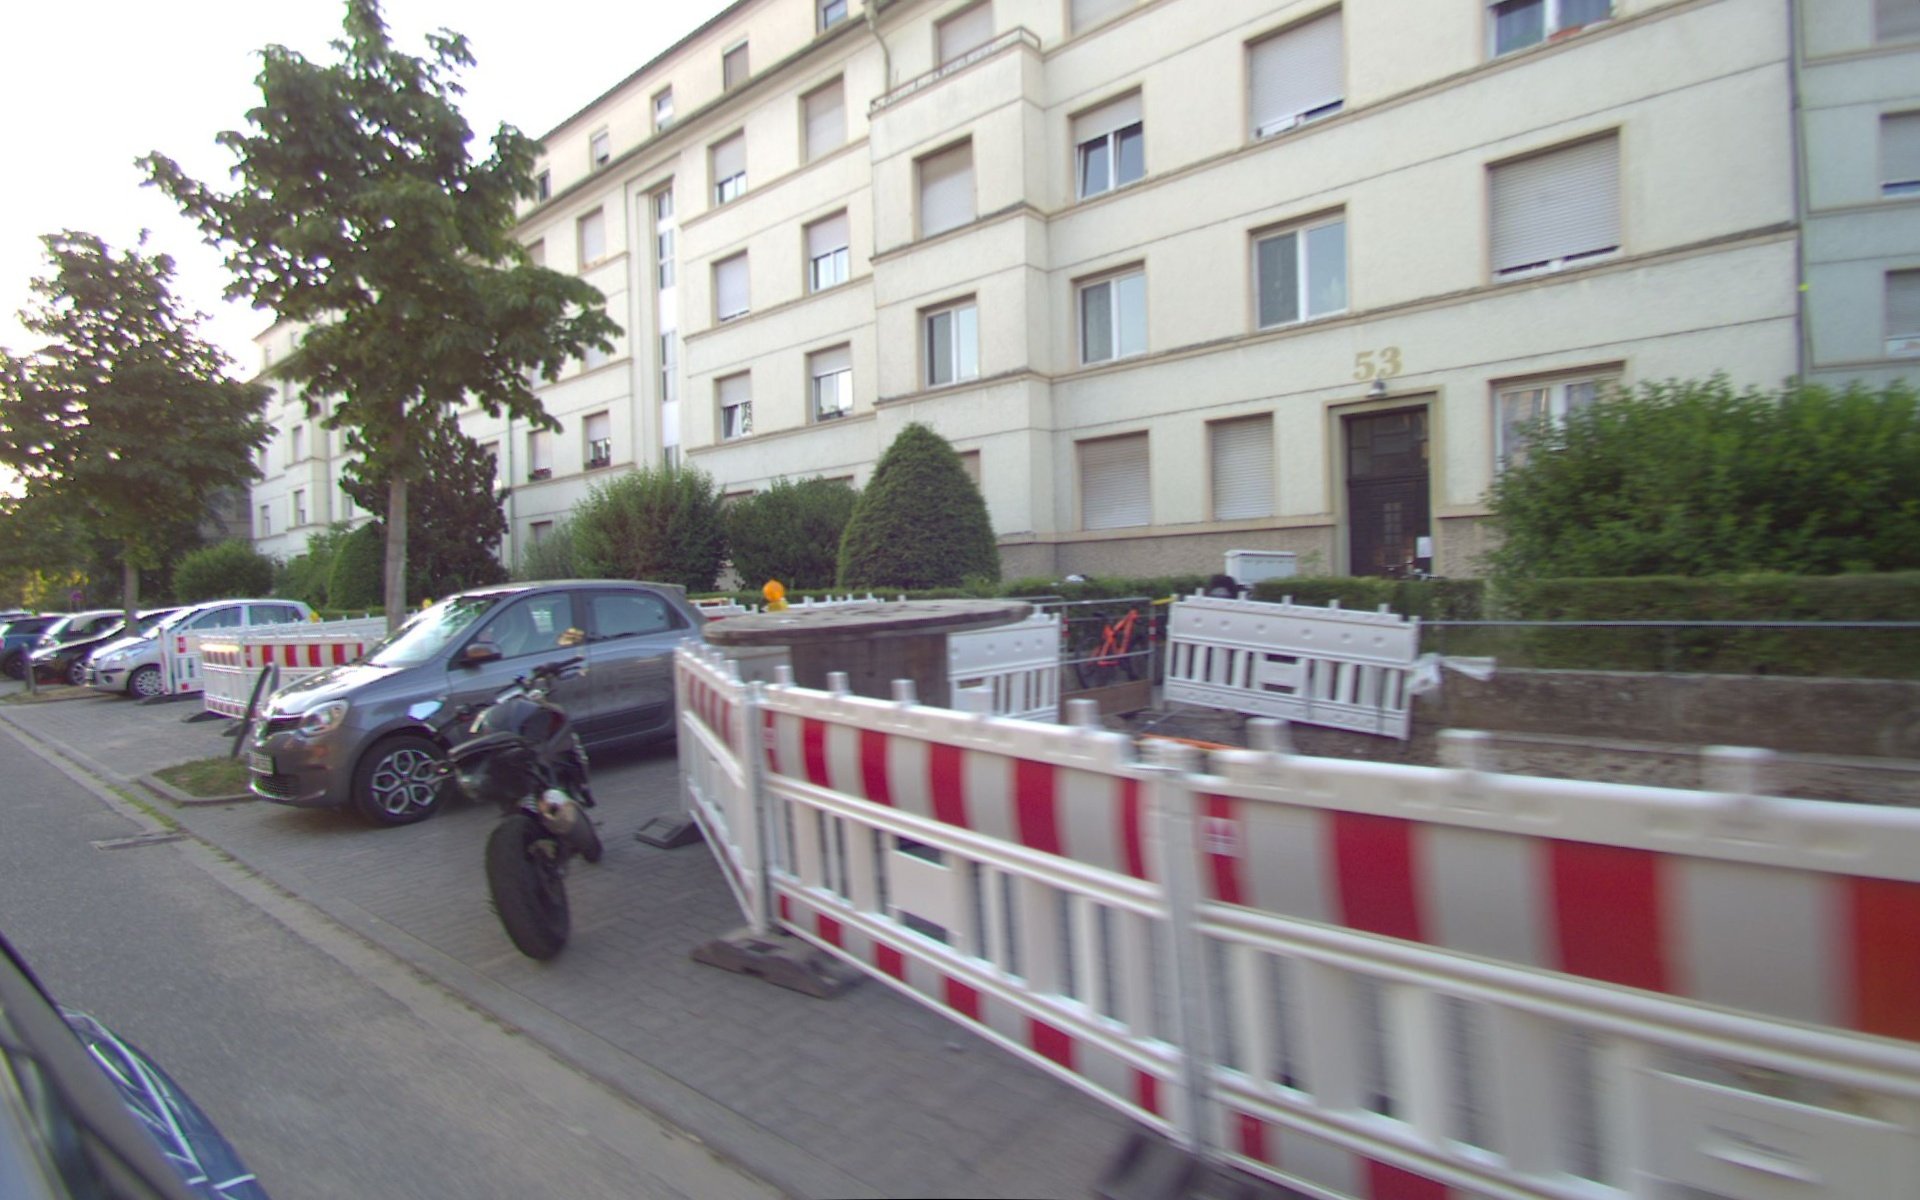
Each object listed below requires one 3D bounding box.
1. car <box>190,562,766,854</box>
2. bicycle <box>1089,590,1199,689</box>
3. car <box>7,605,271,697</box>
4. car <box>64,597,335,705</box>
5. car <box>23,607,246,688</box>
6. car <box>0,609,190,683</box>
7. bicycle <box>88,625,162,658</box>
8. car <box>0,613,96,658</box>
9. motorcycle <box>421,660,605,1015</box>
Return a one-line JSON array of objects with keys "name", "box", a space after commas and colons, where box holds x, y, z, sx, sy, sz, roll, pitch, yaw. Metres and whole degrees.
[{"name": "car", "box": [-3.508, 0.596, 7.846, 1.692, 1.568, 3.586, -1, 3, 41]}, {"name": "bicycle", "box": [2.055, 0.410, 11.198, 1.508, 1.008, 0.369, -2, 0, -44]}, {"name": "car", "box": [-16.525, 0.947, 20.496, 1.728, 1.500, 3.934, 0, 2, 43]}, {"name": "car", "box": [-13.266, 0.800, 17.805, 1.725, 1.577, 3.443, 0, 2, 37]}, {"name": "car", "box": [-18.455, 0.985, 22.733, 1.728, 1.495, 3.638, 0, 2, 42]}, {"name": "car", "box": [-20.709, 1.044, 23.984, 1.728, 1.456, 3.638, 0, 2, 43]}, {"name": "bicycle", "box": [-28.543, 1.419, 34.632, 0.360, 0.999, 1.900, -1, 1, 42]}, {"name": "car", "box": [-34.910, 1.348, 37.868, 1.726, 1.495, 3.663, -2, 2, 40]}, {"name": "motorcycle", "box": [-1.942, 0.890, 4.628, 0.530, 1.028, 2.219, -4, 2, -19]}]
